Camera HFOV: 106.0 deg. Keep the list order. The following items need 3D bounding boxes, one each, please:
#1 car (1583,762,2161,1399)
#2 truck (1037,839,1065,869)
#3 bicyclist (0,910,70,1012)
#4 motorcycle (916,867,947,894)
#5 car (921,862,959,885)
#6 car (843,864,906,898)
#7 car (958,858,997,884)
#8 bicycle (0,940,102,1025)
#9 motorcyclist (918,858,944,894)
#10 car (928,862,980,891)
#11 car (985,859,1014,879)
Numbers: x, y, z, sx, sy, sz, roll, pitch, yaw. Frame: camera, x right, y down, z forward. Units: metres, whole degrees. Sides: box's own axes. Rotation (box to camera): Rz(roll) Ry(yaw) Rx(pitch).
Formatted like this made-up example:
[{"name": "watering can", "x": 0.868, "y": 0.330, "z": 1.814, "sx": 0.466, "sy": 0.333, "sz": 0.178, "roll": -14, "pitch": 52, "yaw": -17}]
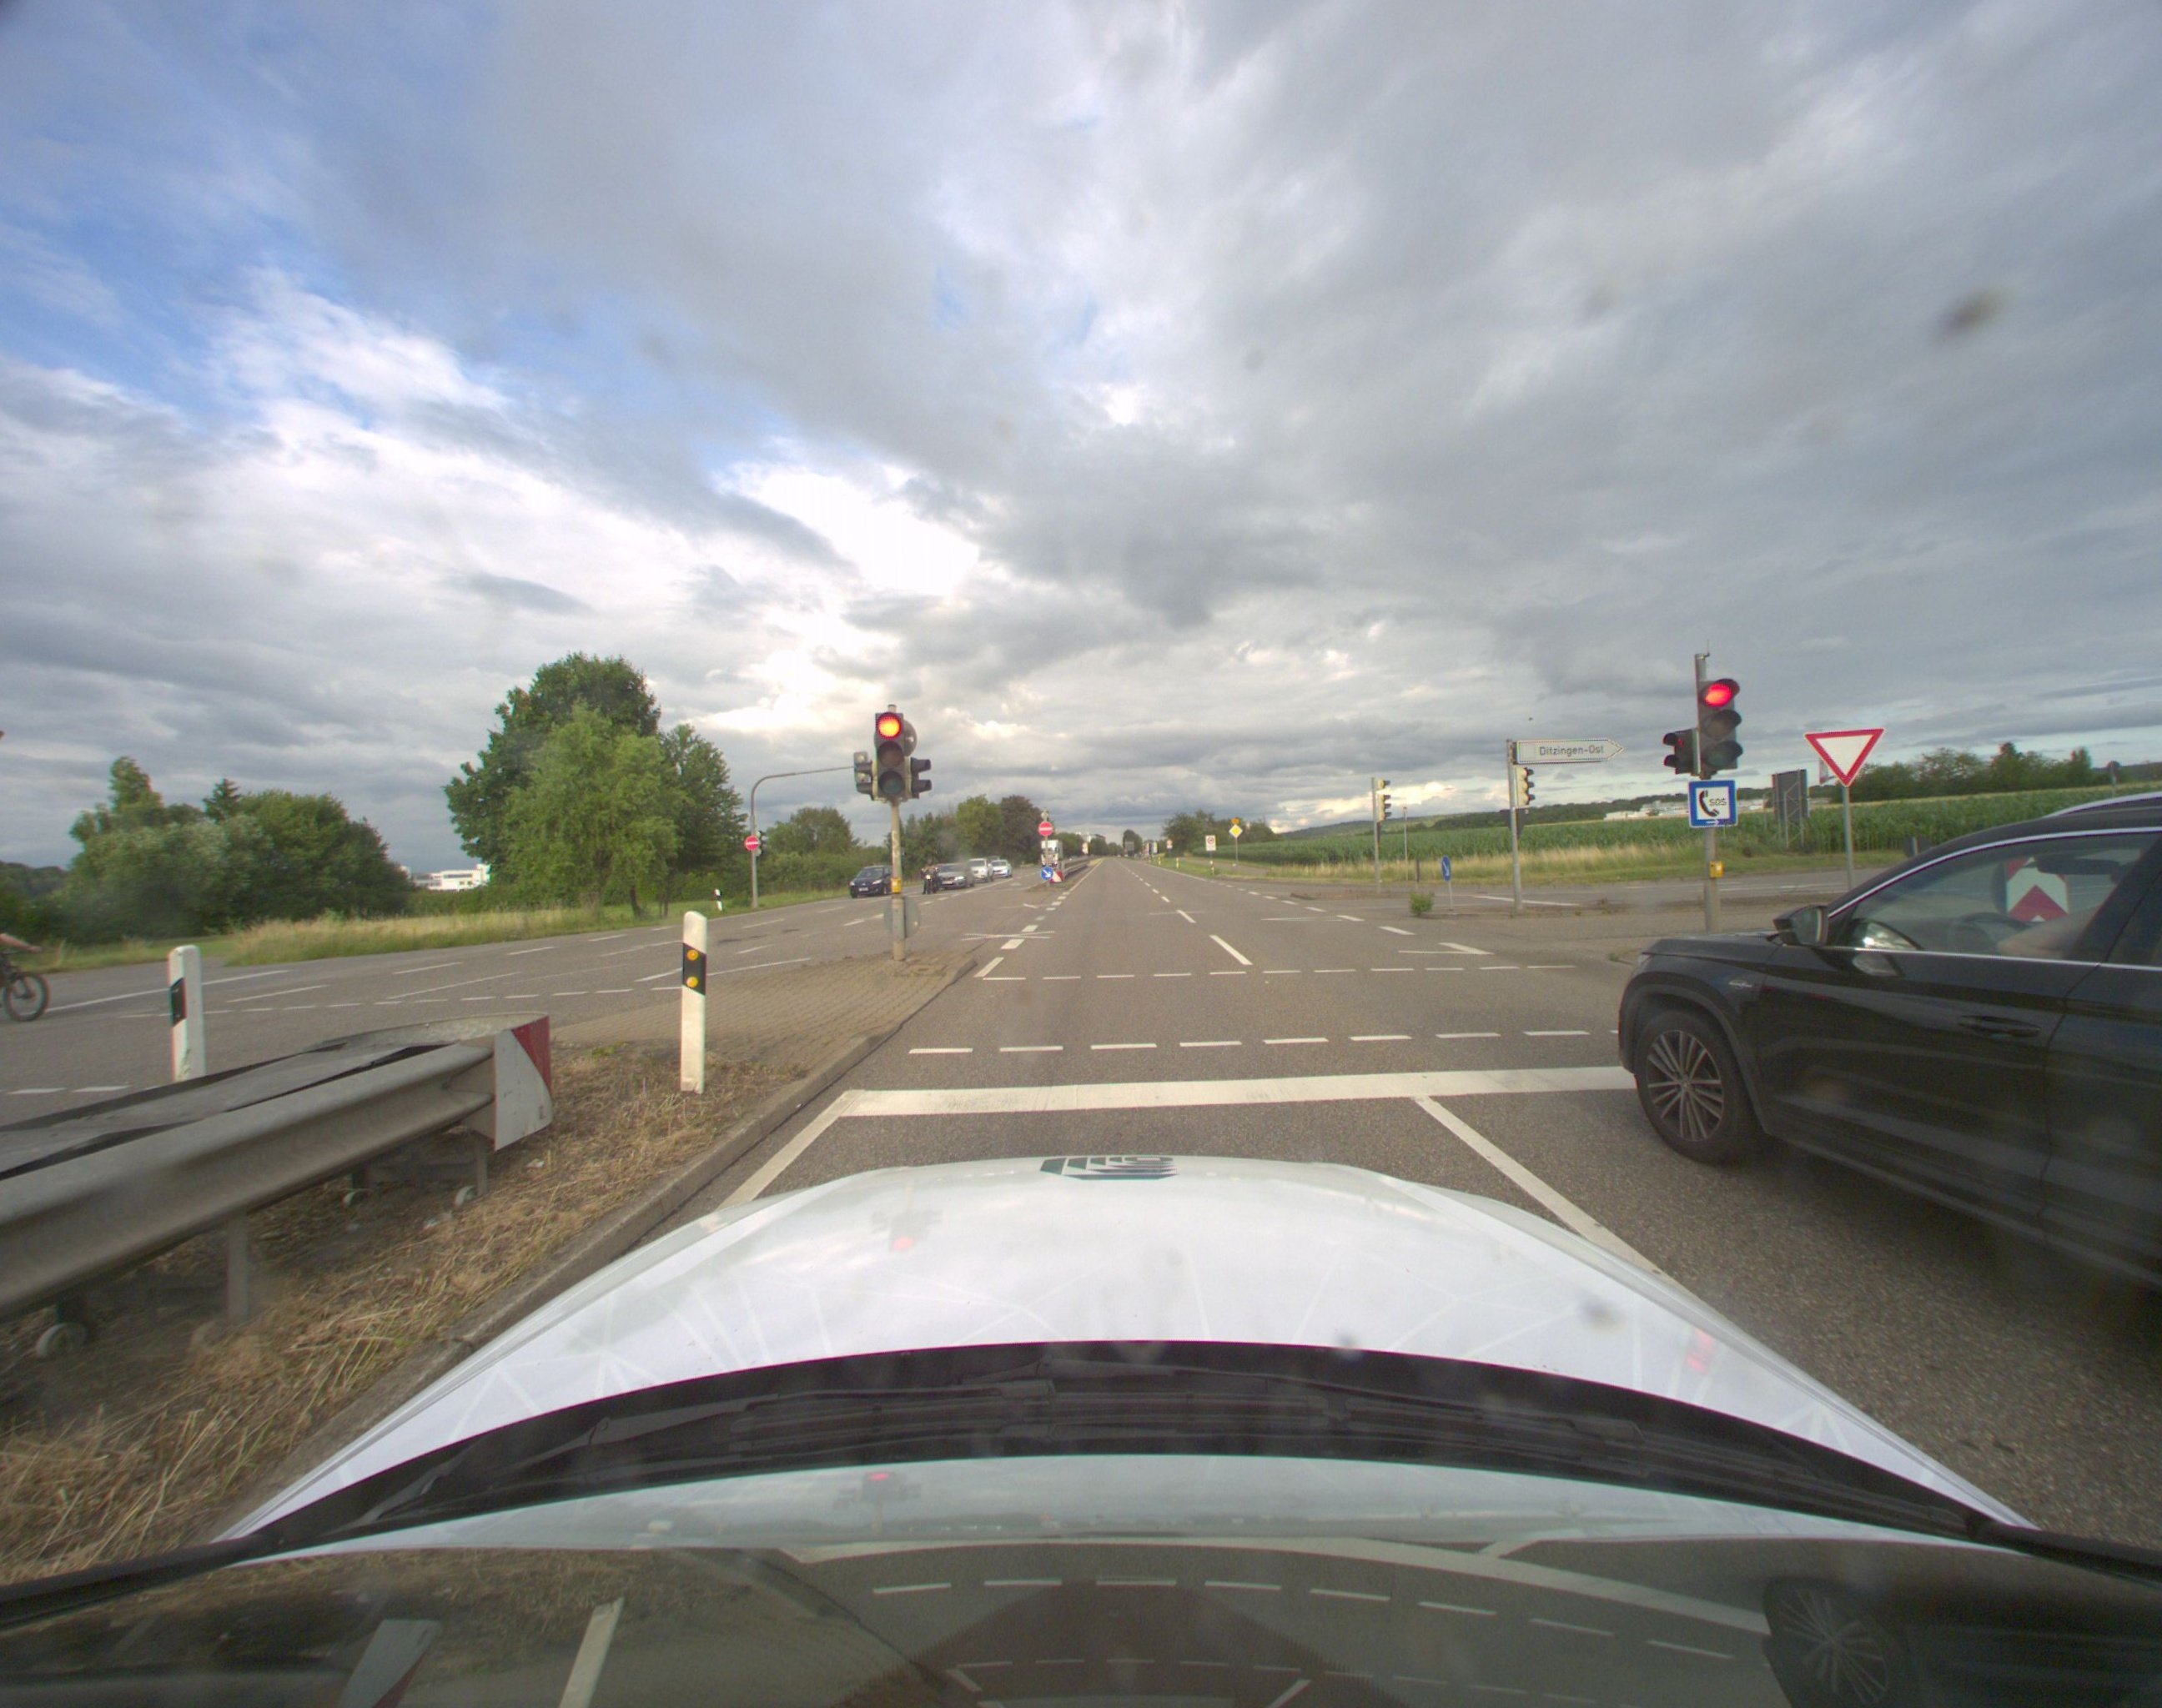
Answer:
[{"name": "car", "x": 3.717, "y": 0.580, "z": 2.361, "sx": 1.838, "sy": 1.650, "sz": 4.482, "roll": 0, "pitch": 0, "yaw": 1}, {"name": "truck", "x": -4.493, "y": 0.035, "z": 122.125, "sx": 3.462, "sy": 4.150, "sz": 6.052, "roll": -4, "pitch": 0, "yaw": 2}, {"name": "bicyclist", "x": -16.524, "y": 1.636, "z": 12.419, "sx": 1.216, "sy": 1.451, "sz": 0.817, "roll": -3, "pitch": 0, "yaw": 7}, {"name": "motorcycle", "x": -7.392, "y": 1.306, "z": 40.386, "sx": 0.913, "sy": 1.203, "sz": 2.480, "roll": -4, "pitch": -1, "yaw": 2}, {"name": "car", "x": -10.310, "y": 1.423, "z": 59.837, "sx": 1.900, "sy": 1.465, "sz": 4.186, "roll": -3, "pitch": 0, "yaw": 2}, {"name": "car", "x": -10.866, "y": 1.400, "z": 43.276, "sx": 1.900, "sy": 1.535, "sz": 4.940, "roll": -3, "pitch": 0, "yaw": 2}, {"name": "car", "x": -6.962, "y": 1.104, "z": 55.140, "sx": 1.900, "sy": 1.610, "sz": 4.406, "roll": -3, "pitch": 0, "yaw": 2}, {"name": "bicycle", "x": -16.476, "y": 1.966, "z": 12.413, "sx": 2.307, "sy": 1.137, "sz": 0.817, "roll": -3, "pitch": 0, "yaw": 7}, {"name": "motorcyclist", "x": -7.401, "y": 1.069, "z": 40.265, "sx": 0.913, "sy": 1.708, "sz": 1.276, "roll": -3, "pitch": -1, "yaw": 2}, {"name": "car", "x": -7.077, "y": 1.216, "z": 45.937, "sx": 1.900, "sy": 1.428, "sz": 5.154, "roll": -3, "pitch": 0, "yaw": 2}, {"name": "car", "x": -6.522, "y": 1.202, "z": 65.595, "sx": 1.782, "sy": 1.444, "sz": 4.162, "roll": -3, "pitch": 0, "yaw": 2}]
